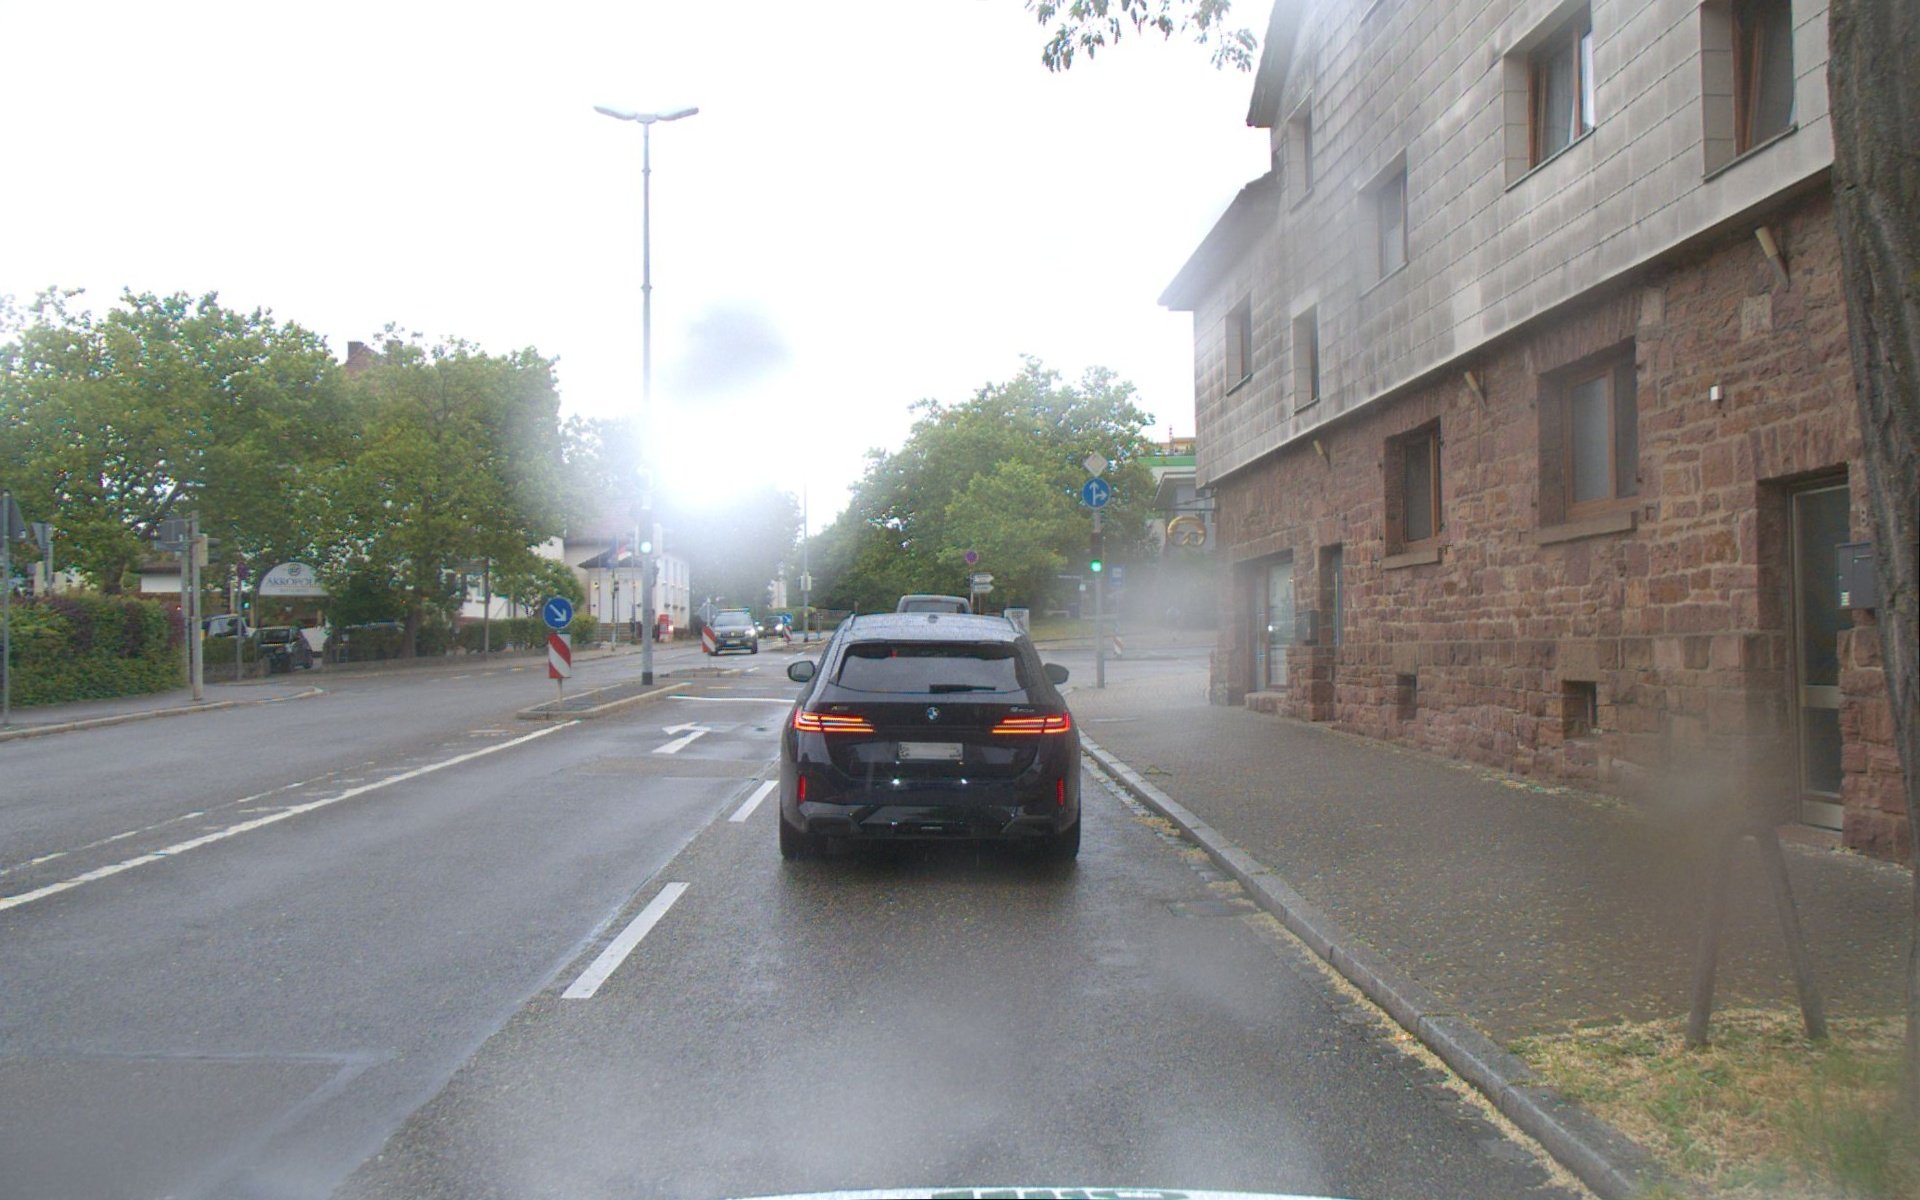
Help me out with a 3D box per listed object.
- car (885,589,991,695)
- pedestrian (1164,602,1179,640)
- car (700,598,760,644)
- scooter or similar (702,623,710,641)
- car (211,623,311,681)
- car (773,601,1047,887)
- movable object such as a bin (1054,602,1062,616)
[{"bbox_3d":[-0.477,0.774,31.130,1.776,1.840,3.753,1,-1,-4],"label":"car"},{"bbox_3d":[9.257,0.907,72.334,0.588,1.645,0.526,1,-1,6],"label":"pedestrian"},{"bbox_3d":[-8.453,0.738,61.135,1.861,1.605,4.499,-1,0,-4],"label":"car"},{"bbox_3d":[-15.749,1.987,102.746,0.382,1.083,1.409,1,-1,-5],"label":"scooter or similar"},{"bbox_3d":[-23.198,1.692,55.010,1.772,1.578,3.999,1,3,-3],"label":"car"},{"bbox_3d":[-0.388,0.835,10.928,1.494,1.561,3.529,1,-1,-4],"label":"car"},{"bbox_3d":[6.752,0.627,113.579,0.440,0.921,0.463,1,-1,14],"label":"movable object such as a bin"}]
